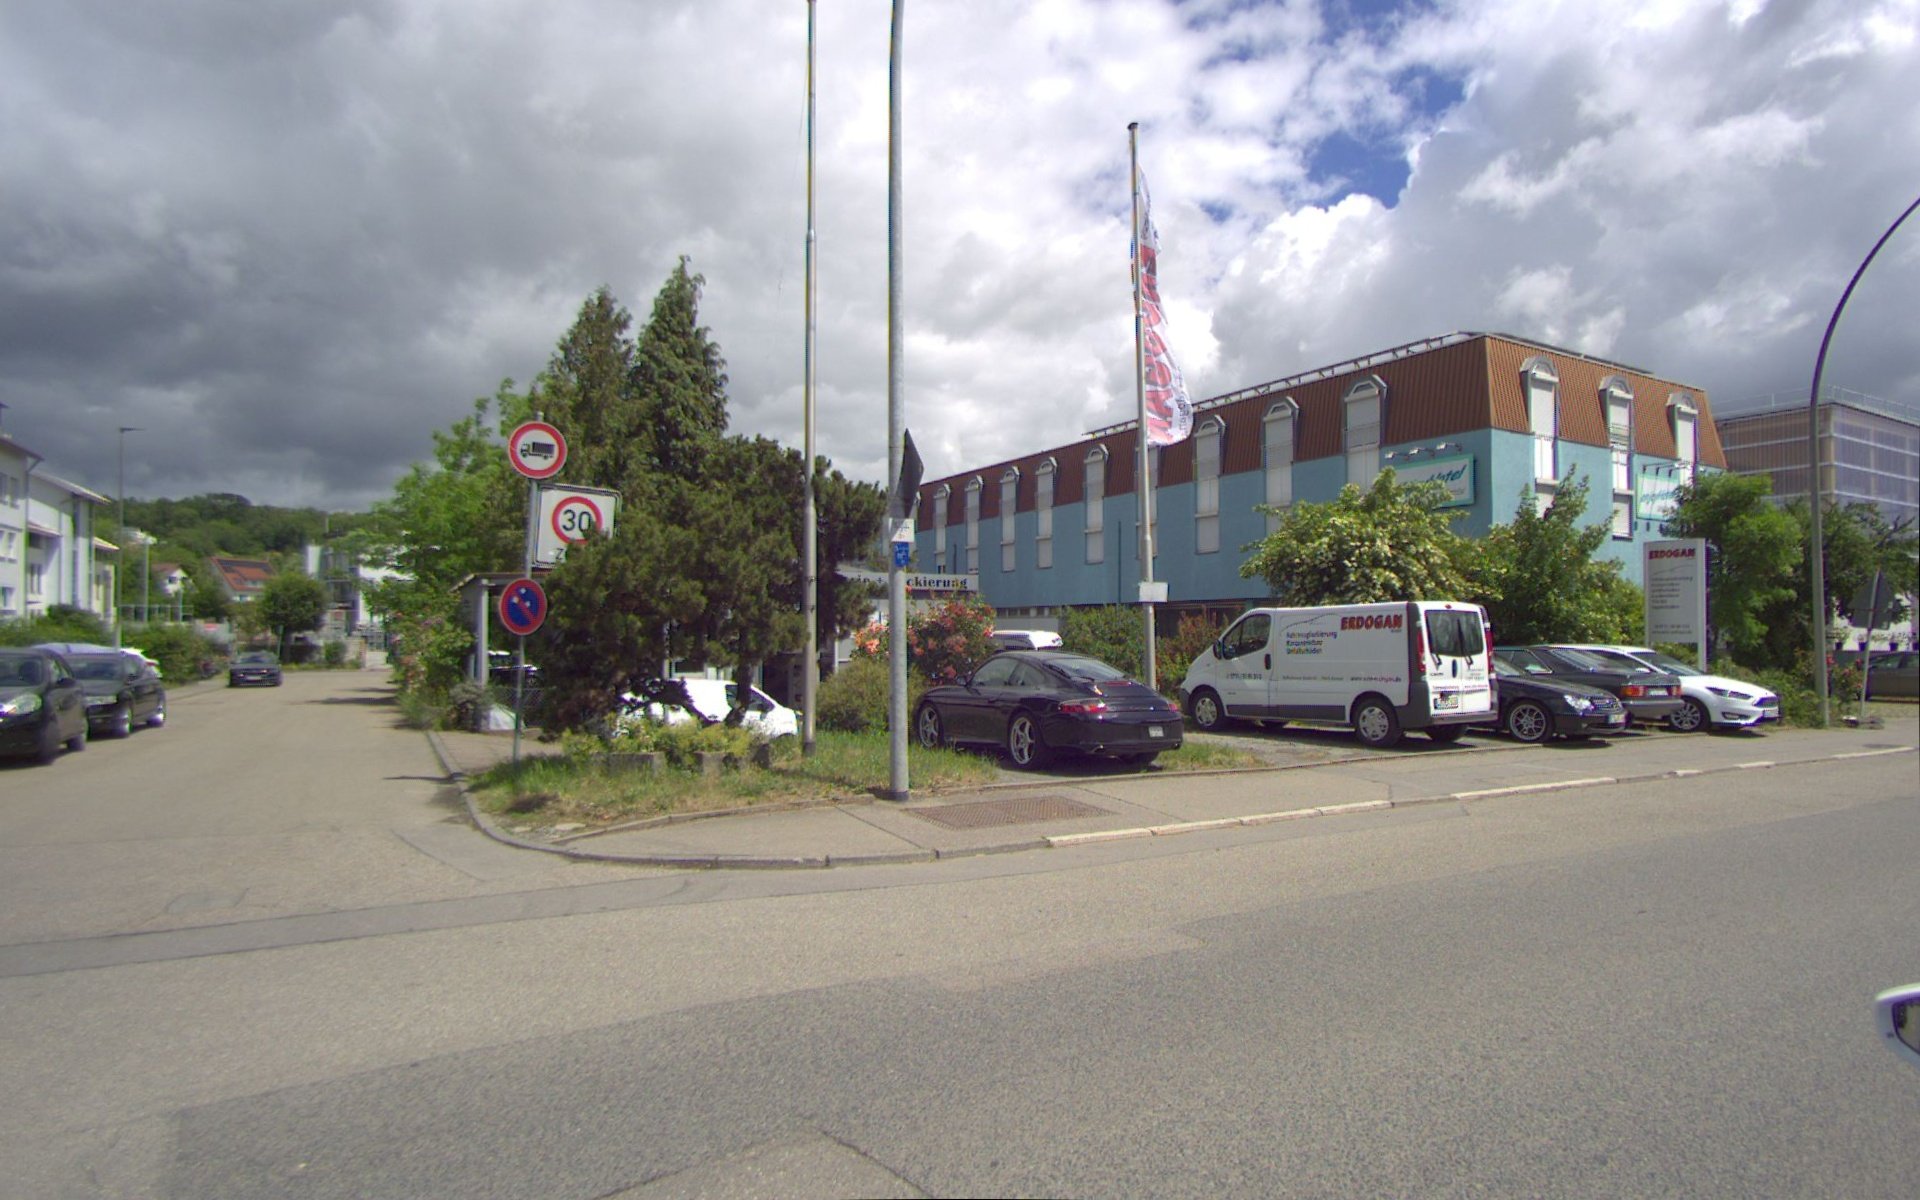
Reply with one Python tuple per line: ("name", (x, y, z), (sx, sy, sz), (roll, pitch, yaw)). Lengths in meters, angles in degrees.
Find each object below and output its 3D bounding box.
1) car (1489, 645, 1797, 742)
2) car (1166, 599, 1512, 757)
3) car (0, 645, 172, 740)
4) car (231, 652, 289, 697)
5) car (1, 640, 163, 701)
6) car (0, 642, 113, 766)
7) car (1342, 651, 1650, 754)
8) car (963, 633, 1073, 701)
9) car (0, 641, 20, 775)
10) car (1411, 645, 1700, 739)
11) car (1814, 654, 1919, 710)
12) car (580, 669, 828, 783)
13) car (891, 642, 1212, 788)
("car", (12.390, 1.630, 18.535), (1.849, 1.497, 4.356), (3, -3, -29))
("car", (5.540, 1.069, 15.322), (2.093, 1.998, 4.625), (1, -2, -33))
("car", (-15.473, 1.600, 17.894), (1.824, 1.496, 3.648), (2, -4, -32))
("car", (-30.455, 3.216, 43.795), (1.979, 1.595, 3.962), (1, 0, -34))
("car", (-29.522, 2.327, 33.958), (3.965, 1.818, 1.978), (1, 0, -38))
("car", (-12.924, 1.359, 13.484), (1.824, 1.496, 3.648), (2, -4, -32))
("car", (8.338, 1.521, 15.969), (1.850, 1.332, 3.967), (2, -3, -31))
("car", (2.509, 2.890, 44.872), (2.253, 2.580, 5.440), (1, 0, -30))
("car", (-10.838, 1.114, 9.742), (1.593, 1.496, 3.540), (1, -4, -28))
("car", (10.176, 1.497, 17.492), (1.848, 1.373, 3.972), (1, -2, -27))
("car", (28.162, 2.436, 30.004), (1.954, 1.553, 3.614), (1, -2, -27))
("car", (-5.622, 2.677, 22.270), (4.969, 2.040, 1.983), (1, 0, -32))
("car", (0.904, 1.219, 12.062), (1.850, 1.220, 3.966), (1, 0, -31))
